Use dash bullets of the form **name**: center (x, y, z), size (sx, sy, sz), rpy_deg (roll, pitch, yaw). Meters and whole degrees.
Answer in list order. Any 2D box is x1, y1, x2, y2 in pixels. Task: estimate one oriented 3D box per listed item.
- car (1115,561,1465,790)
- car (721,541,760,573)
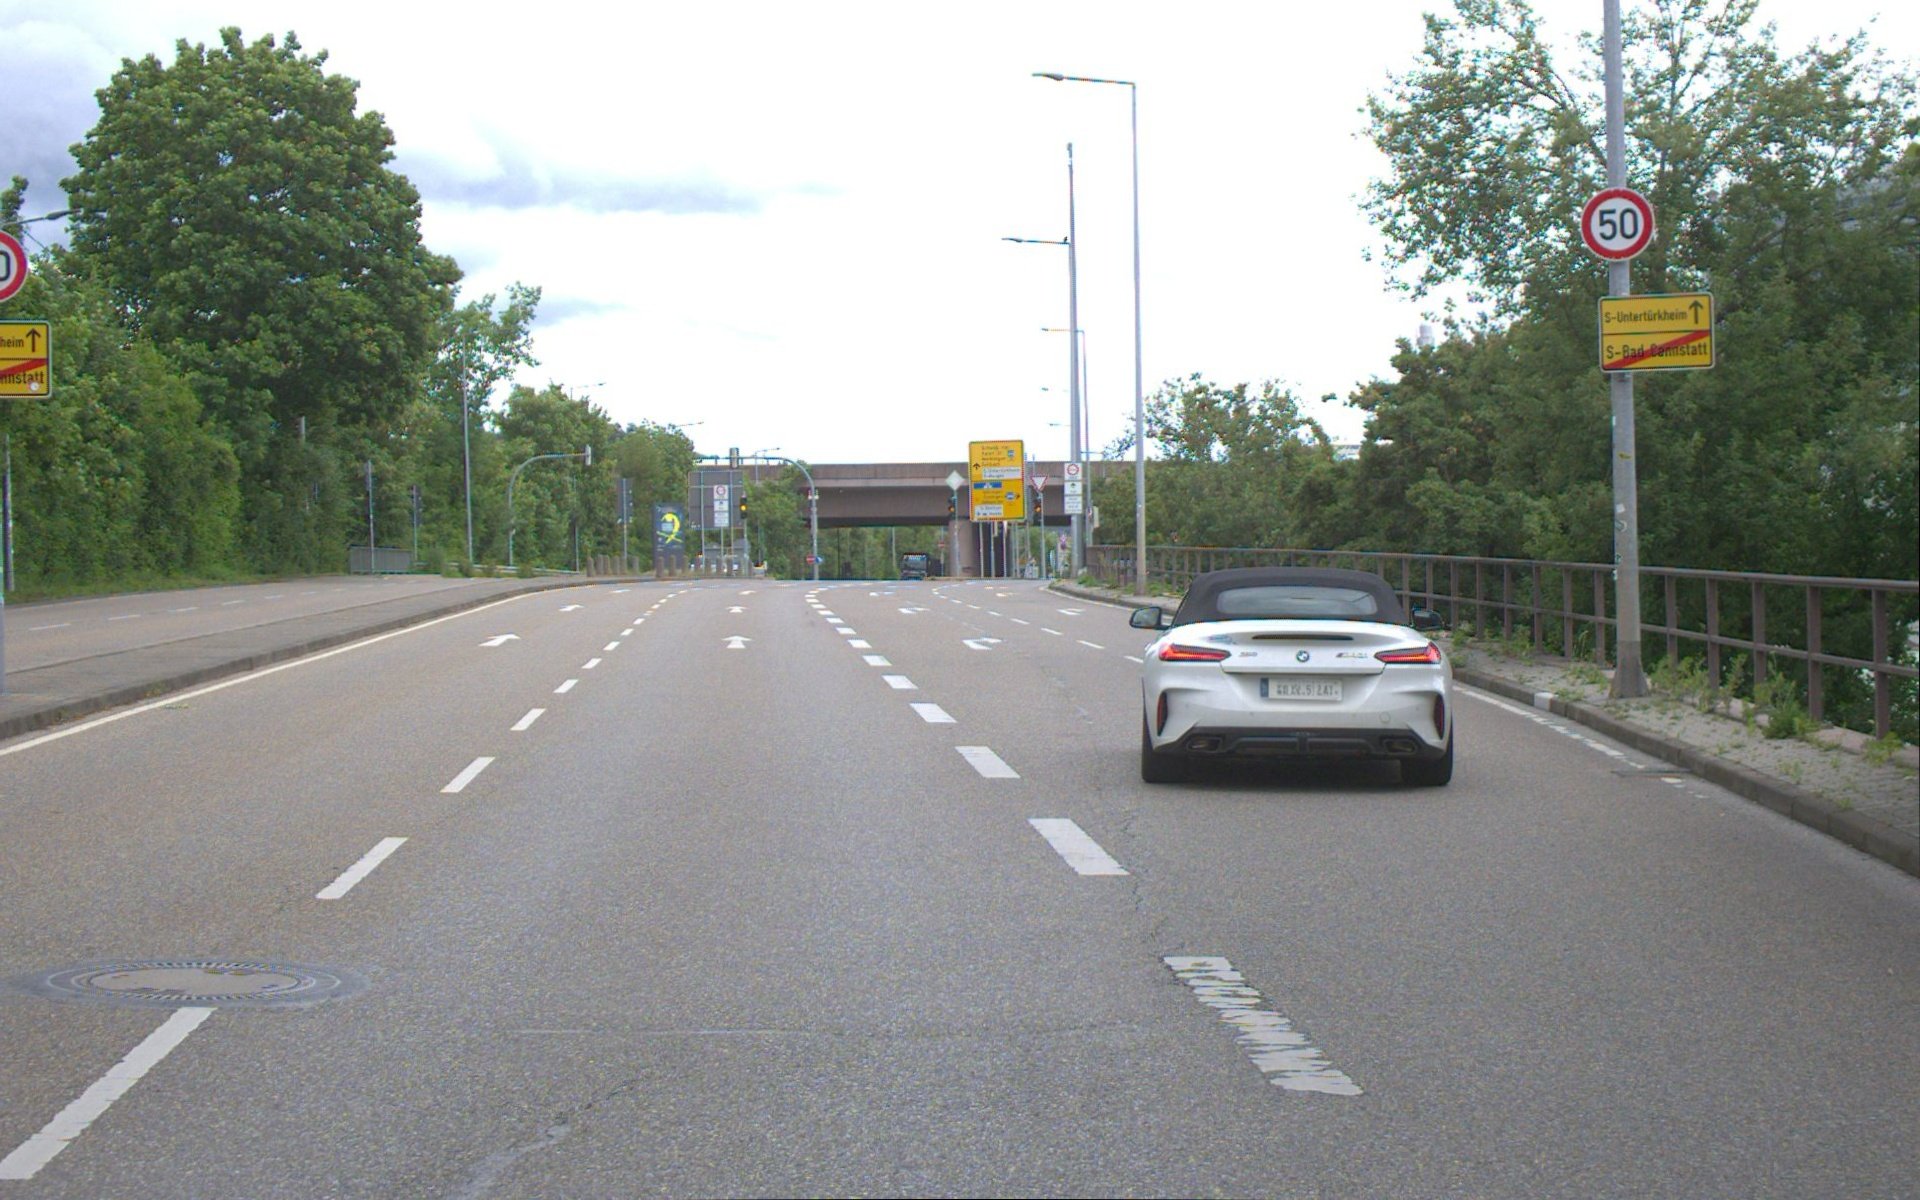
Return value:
- **car**: center (1.987, 0.420, 21.752), size (1.875, 1.305, 3.873), rpy_deg (0, 0, 1)
- **car**: center (-11.696, -2.283, 183.375), size (1.771, 1.627, 3.825), rpy_deg (1, 0, 0)
